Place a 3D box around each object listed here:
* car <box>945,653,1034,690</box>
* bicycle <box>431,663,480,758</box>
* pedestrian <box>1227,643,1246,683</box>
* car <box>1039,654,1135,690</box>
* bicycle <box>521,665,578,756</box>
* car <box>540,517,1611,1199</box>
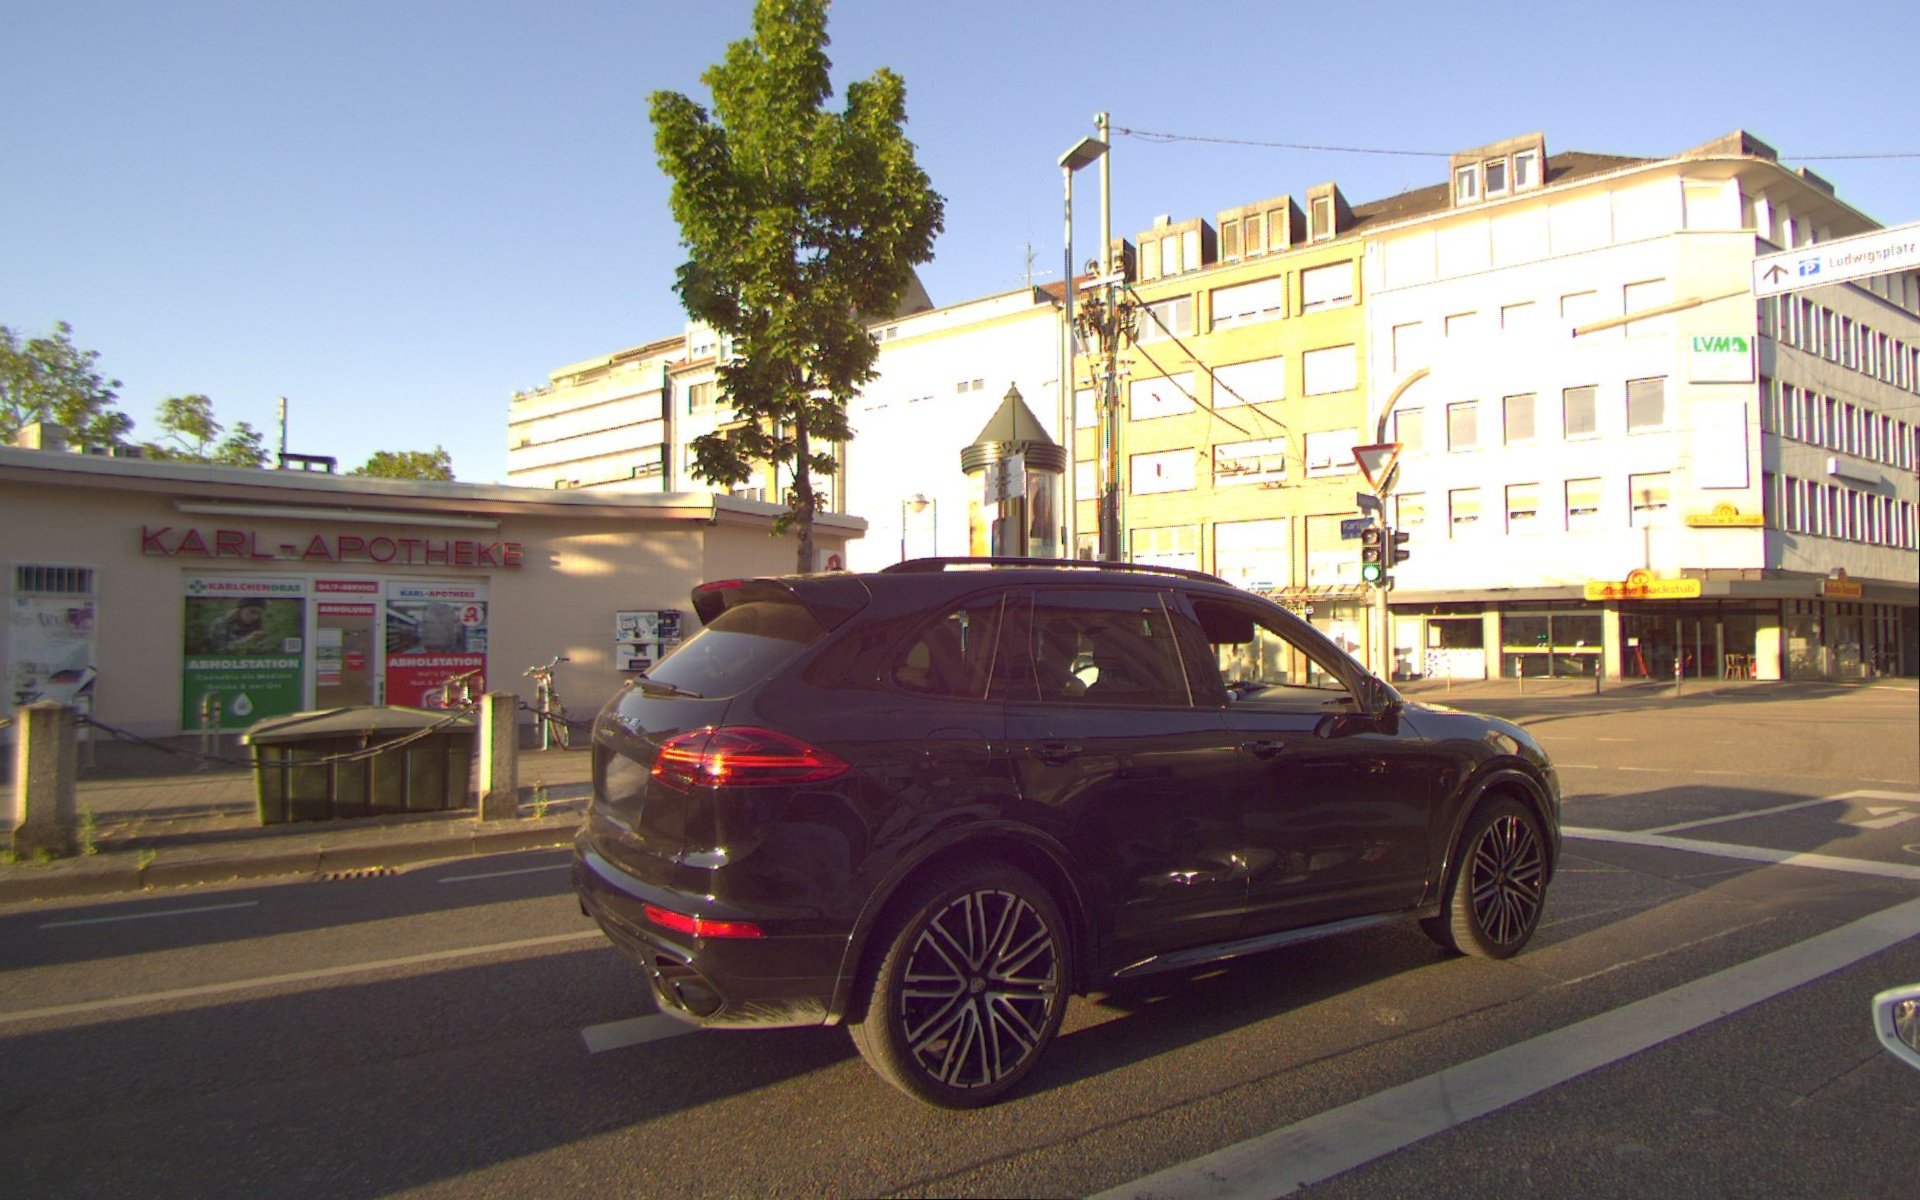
[{"bbox_3d":[1.209,2.963,41.732,3.334,1.371,1.631,-3,-1,36],"label":"car"},{"bbox_3d":[-6.568,1.393,13.050,0.443,1.128,1.857,2,-4,-30],"label":"bicycle"},{"bbox_3d":[10.735,2.450,39.018,0.613,1.491,0.544,-2,0,19],"label":"pedestrian"},{"bbox_3d":[4.937,2.809,39.207,3.334,1.270,1.631,-3,-1,36],"label":"car"},{"bbox_3d":[-5.521,1.443,13.478,0.443,1.128,1.857,2,-4,-30],"label":"bicycle"},{"bbox_3d":[0.717,0.736,4.401,4.517,1.720,1.791,2,-2,-31],"label":"car"}]
